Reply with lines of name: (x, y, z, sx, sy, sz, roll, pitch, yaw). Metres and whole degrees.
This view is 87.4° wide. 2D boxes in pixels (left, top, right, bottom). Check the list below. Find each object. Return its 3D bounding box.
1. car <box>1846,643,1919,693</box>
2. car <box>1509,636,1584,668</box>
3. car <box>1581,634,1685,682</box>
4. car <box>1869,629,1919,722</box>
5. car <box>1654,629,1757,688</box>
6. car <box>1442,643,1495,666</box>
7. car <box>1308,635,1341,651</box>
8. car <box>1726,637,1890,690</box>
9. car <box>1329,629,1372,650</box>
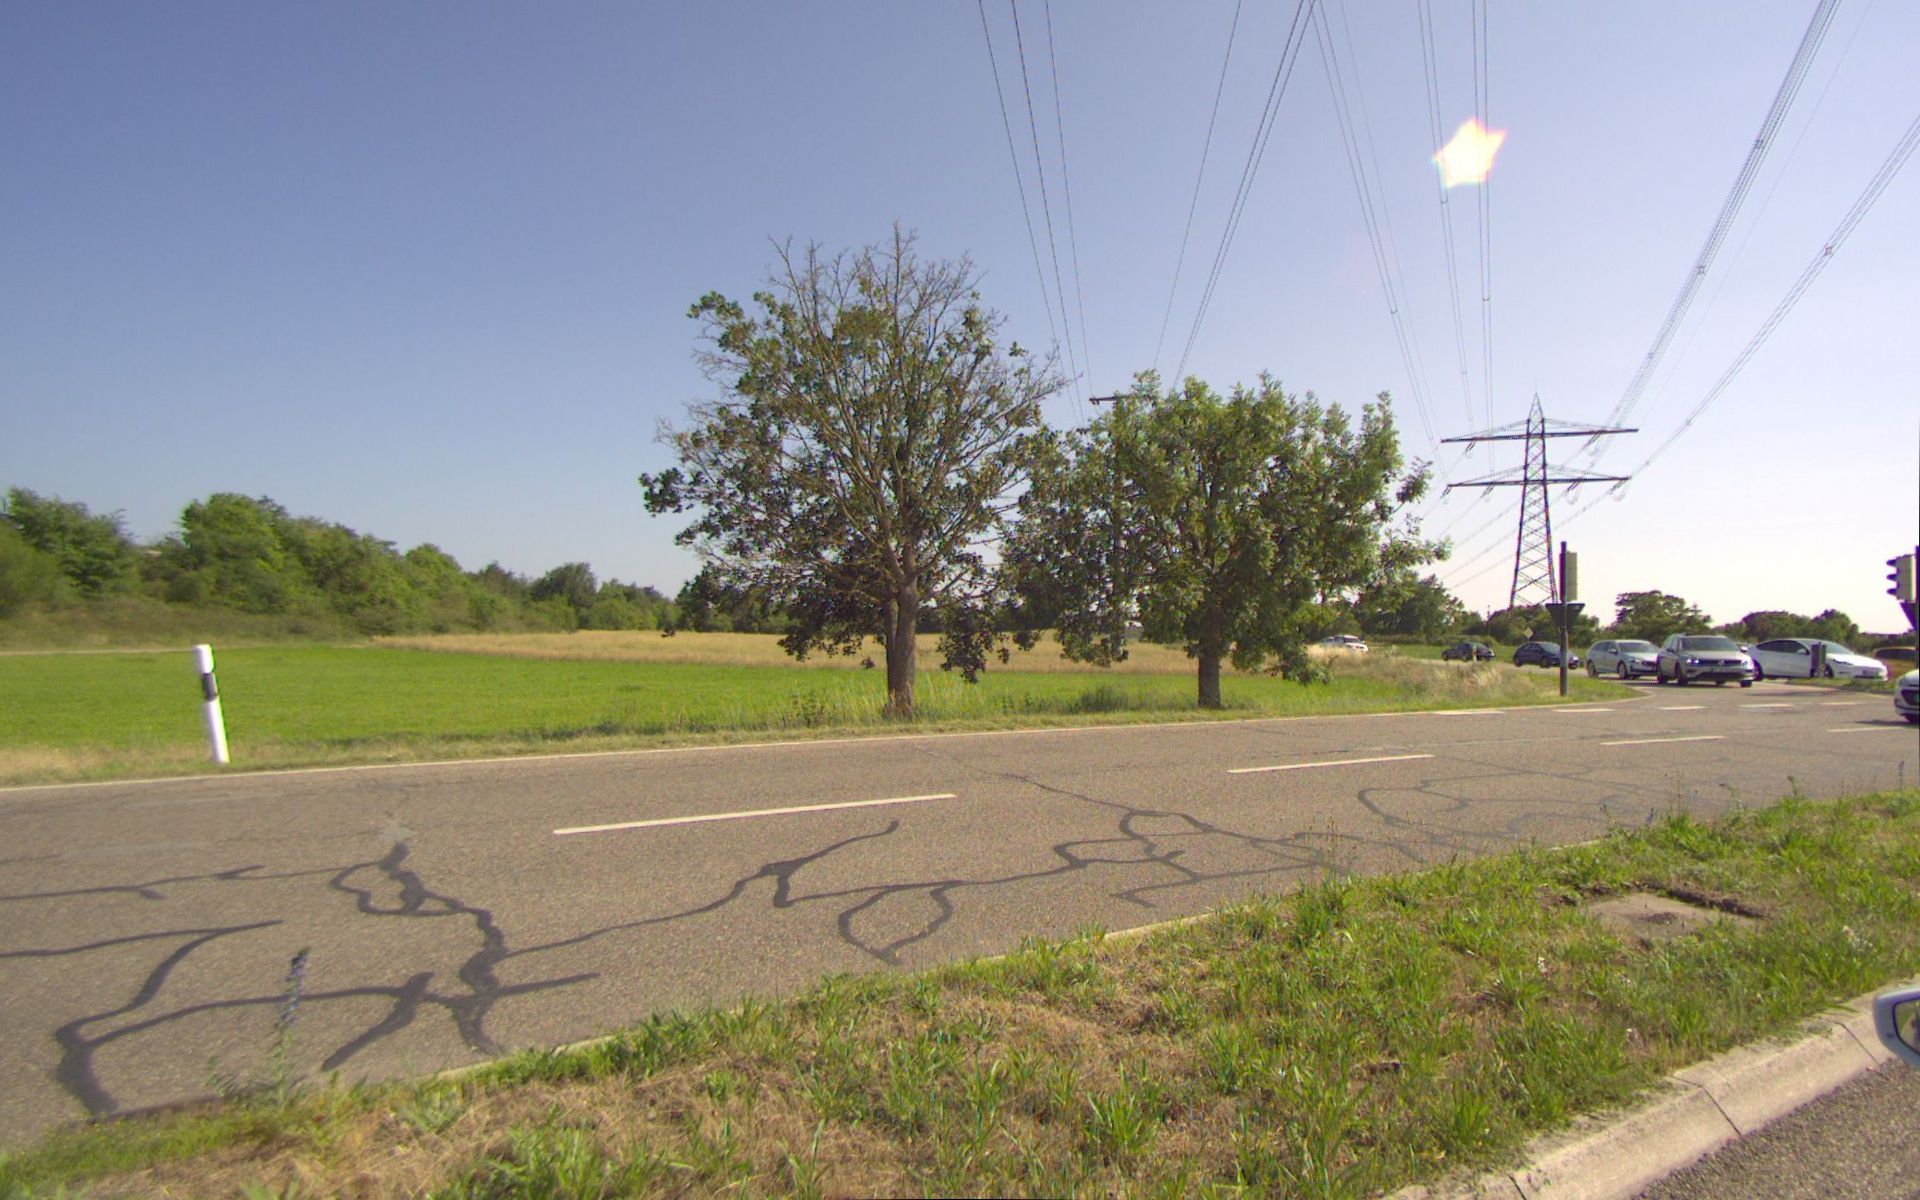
car: (33.590, 2.385, 35.052, 1.785, 1.673, 4.000, 1, -1, -2)
car: (33.062, 2.914, 56.737, 1.785, 1.673, 4.000, 1, -1, -2)
car: (25.334, 2.137, 37.960, 1.783, 1.673, 4.003, 1, -2, 10)
car: (17.410, 1.272, 16.498, 3.842, 1.484, 1.720, 1, -1, -11)
car: (23.118, 1.769, 31.300, 1.786, 1.673, 3.997, 0, -2, 25)
car: (37.672, 4.004, 74.504, 1.773, 1.539, 3.879, 1, -2, -4)
car: (36.855, 4.358, 101.659, 1.773, 1.539, 3.879, 1, -2, -4)
car: (30.353, 2.220, 36.175, 1.785, 1.673, 4.760, 2, -1, -2)
car: (32.433, 3.260, 83.508, 1.785, 1.505, 3.998, 1, 0, -3)
